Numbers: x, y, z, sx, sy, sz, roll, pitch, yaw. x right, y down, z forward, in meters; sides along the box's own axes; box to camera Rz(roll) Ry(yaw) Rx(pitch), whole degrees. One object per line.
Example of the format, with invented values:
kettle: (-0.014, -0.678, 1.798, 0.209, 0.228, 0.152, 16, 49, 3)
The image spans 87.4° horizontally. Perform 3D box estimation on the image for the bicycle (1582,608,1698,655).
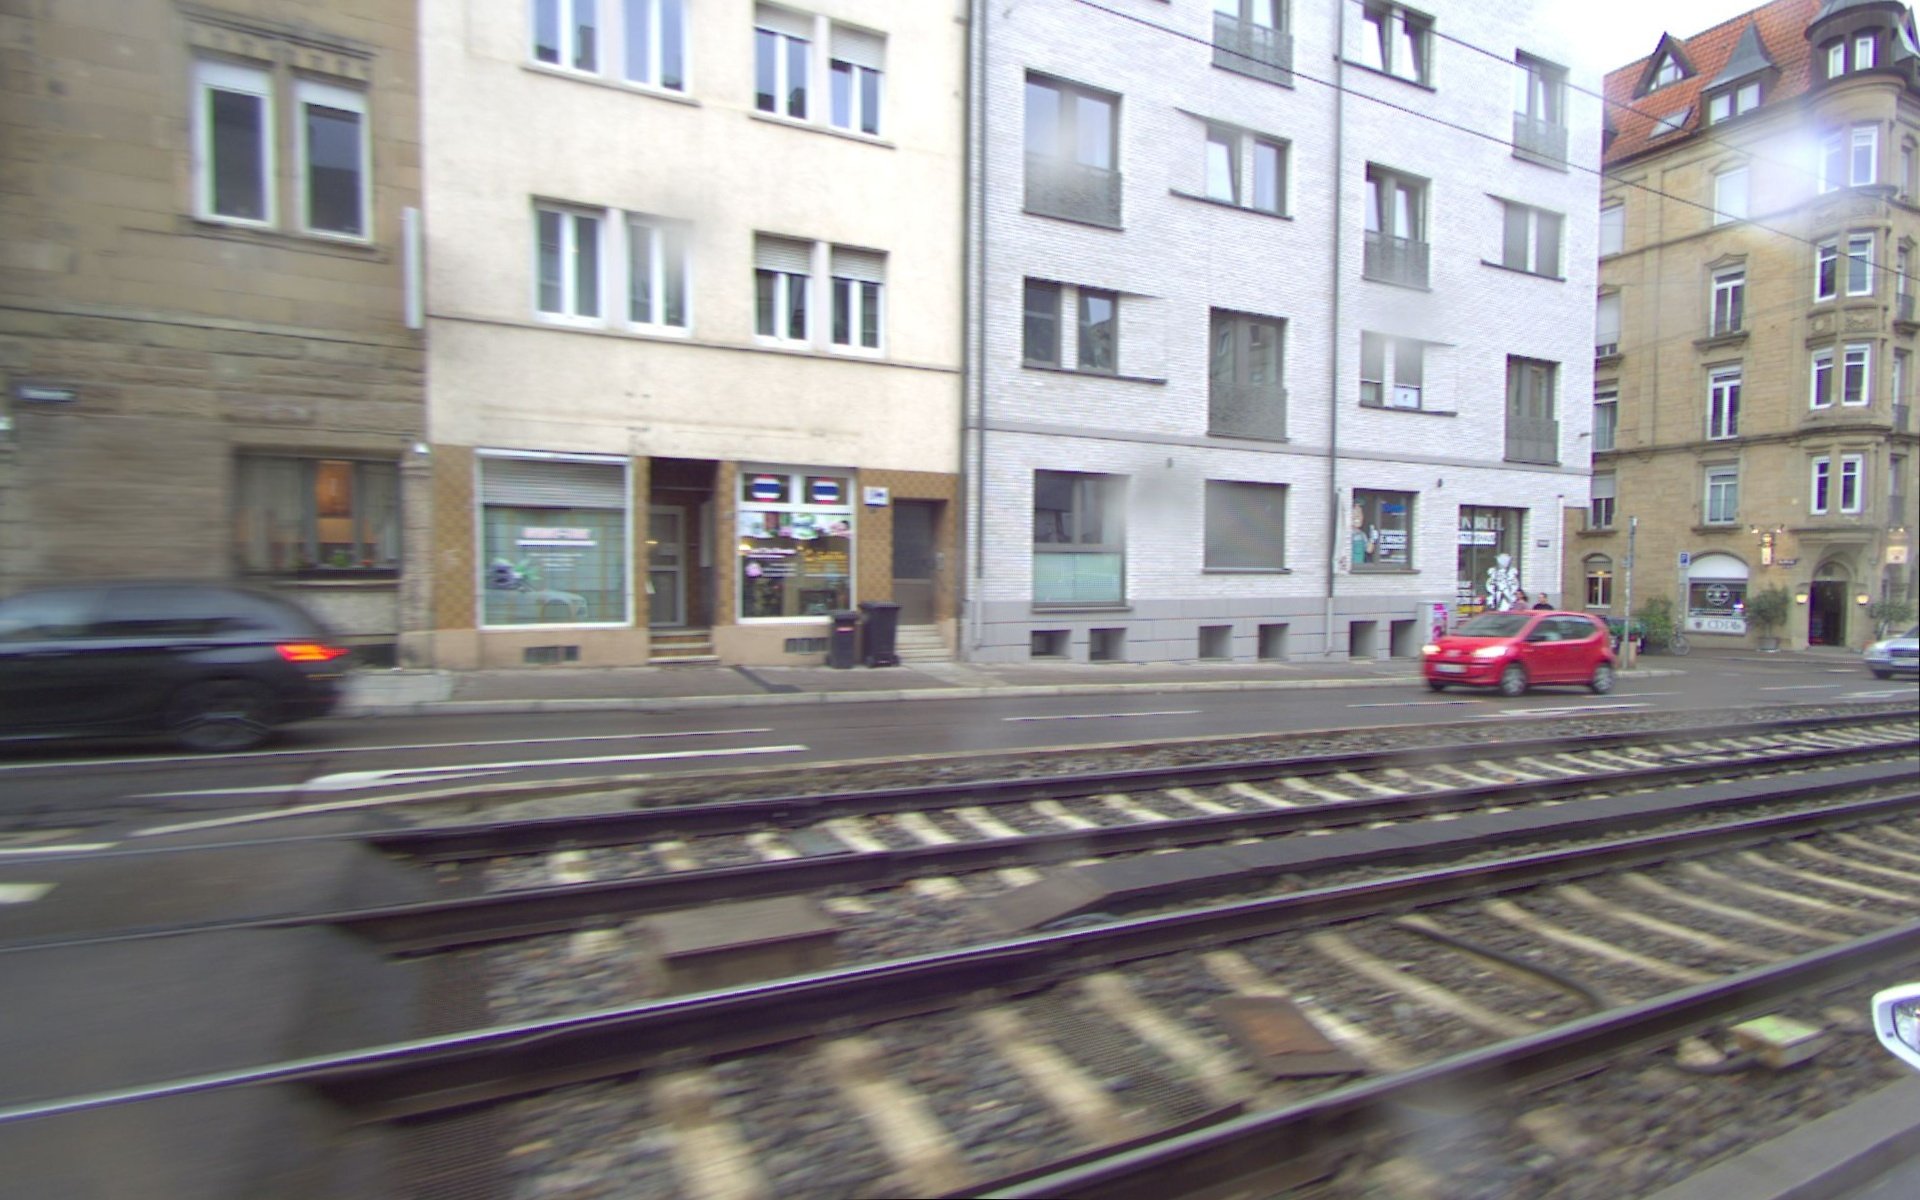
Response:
bicycle: (24.433, 1.101, 36.155, 1.583, 1.605, 3.123, 1, -1, -37)

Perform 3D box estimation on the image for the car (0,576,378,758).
car: (-7.645, 0.544, 8.841, 4.219, 1.415, 1.941, 1, -1, -27)

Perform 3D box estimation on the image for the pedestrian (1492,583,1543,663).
pedestrian: (13.046, 0.544, 23.513, 0.912, 1.810, 0.638, 2, -2, -28)

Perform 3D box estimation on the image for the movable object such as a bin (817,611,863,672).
movable object such as a bin: (-1.953, 0.669, 16.332, 0.553, 0.923, 0.591, 1, 4, -27)

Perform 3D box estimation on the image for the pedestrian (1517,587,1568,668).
pedestrian: (13.325, 0.643, 22.975, 0.871, 1.810, 0.626, 2, -2, -28)

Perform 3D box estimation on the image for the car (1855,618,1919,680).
car: (23.710, 1.143, 23.879, 4.694, 1.379, 1.803, 1, -1, -23)

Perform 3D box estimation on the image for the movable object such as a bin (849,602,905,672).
movable object such as a bin: (-1.374, 0.599, 16.593, 0.678, 1.088, 0.710, 1, 4, -27)

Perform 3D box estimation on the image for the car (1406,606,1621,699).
car: (9.871, 0.888, 17.918, 3.471, 1.517, 1.675, 1, -1, -26)
